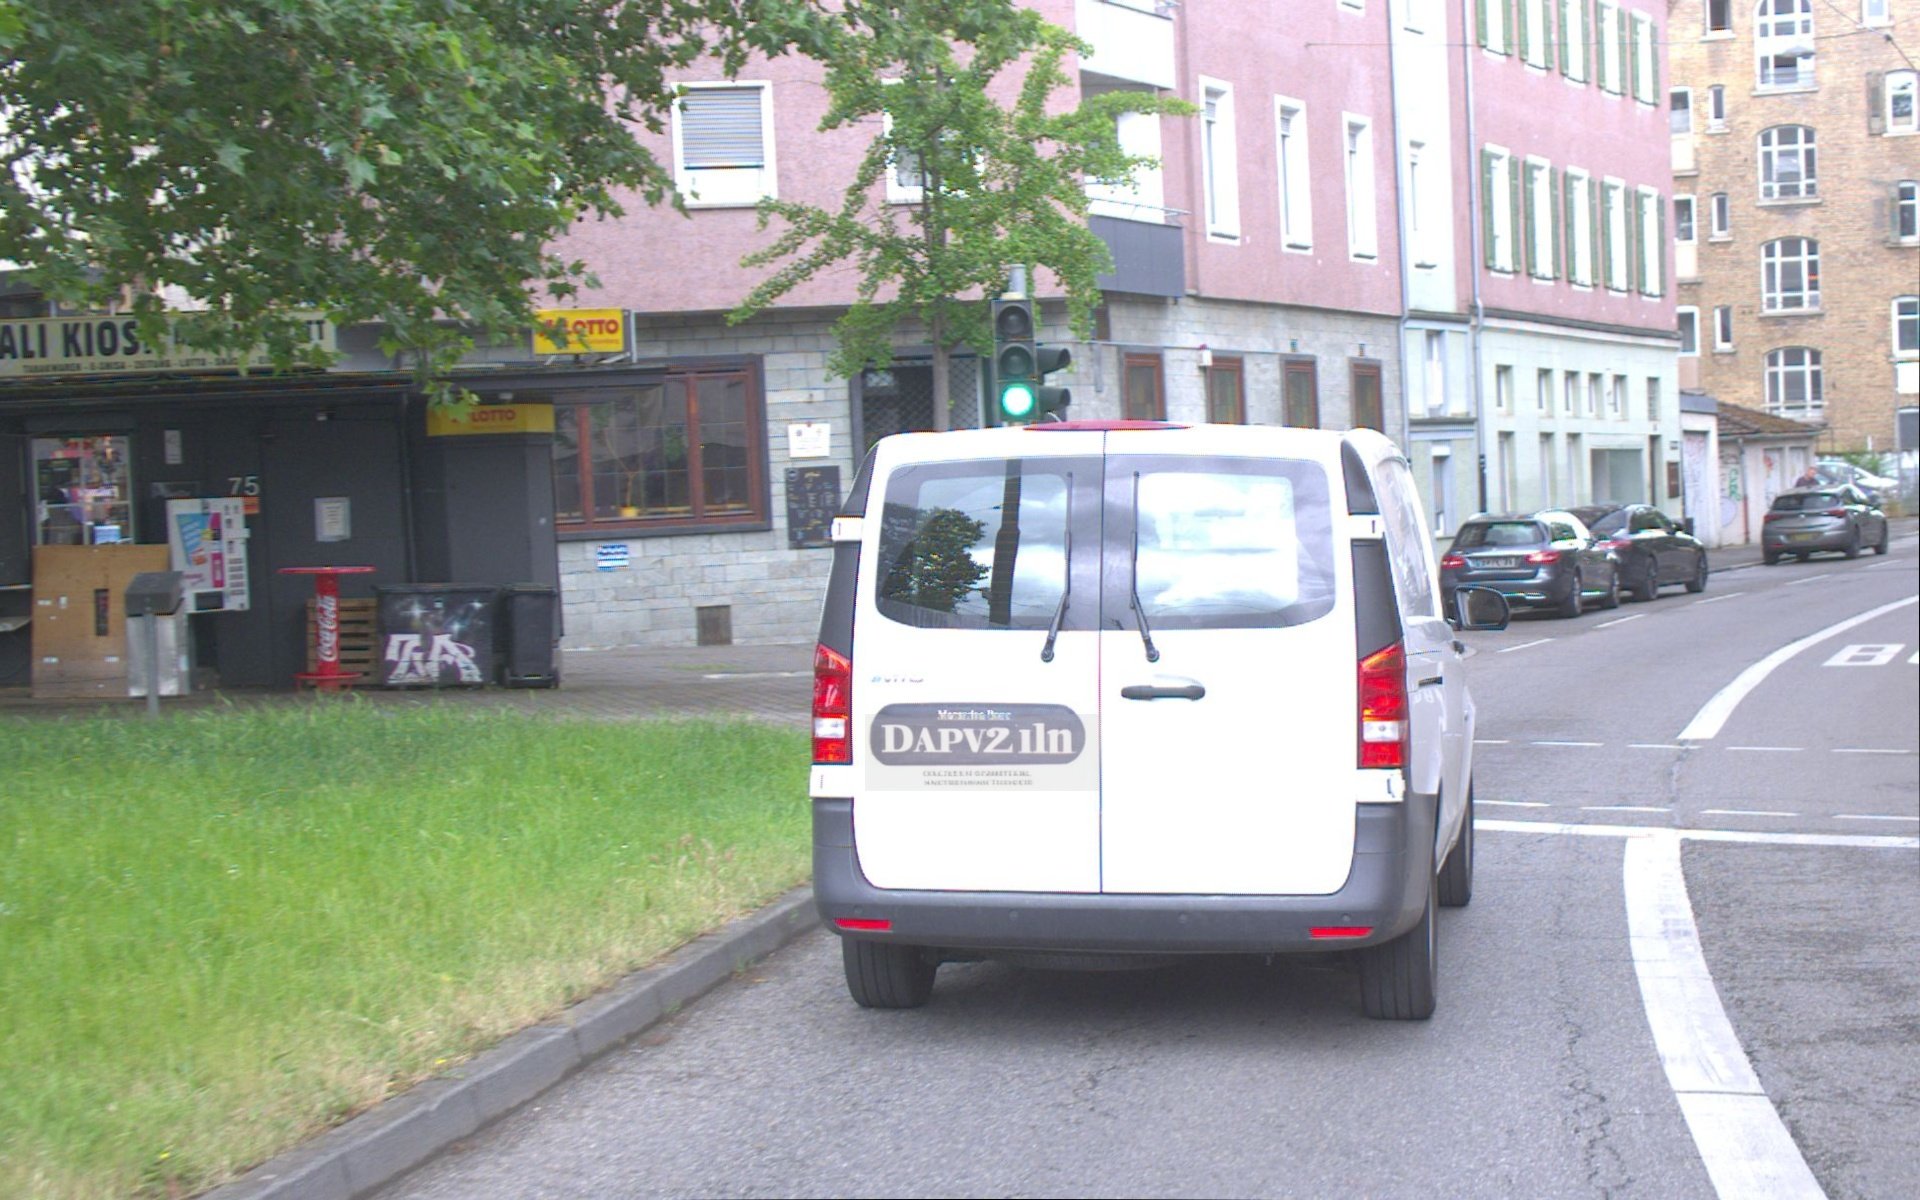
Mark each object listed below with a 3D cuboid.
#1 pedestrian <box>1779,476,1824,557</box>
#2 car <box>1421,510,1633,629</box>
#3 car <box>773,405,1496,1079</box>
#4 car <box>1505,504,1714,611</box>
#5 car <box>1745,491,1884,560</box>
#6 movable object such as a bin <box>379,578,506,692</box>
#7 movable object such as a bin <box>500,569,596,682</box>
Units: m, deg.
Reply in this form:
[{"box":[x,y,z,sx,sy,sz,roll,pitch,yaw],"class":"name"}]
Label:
[{"box":[18.102,-1.796,73.931,0.762,1.738,0.983,0,2,24],"class":"pedestrian"},{"box":[7.817,-0.443,47.045,1.831,1.450,4.579,-2,1,22],"class":"car"},{"box":[0.839,0.347,12.135,1.918,1.895,4.699,1,1,11],"class":"car"},{"box":[9.908,-0.677,52.168,1.831,1.450,4.915,-2,1,26],"class":"car"},{"box":[16.620,-1.440,66.742,1.996,1.285,3.995,0,1,23],"class":"car"},{"box":[-4.673,0.313,31.011,0.964,0.961,1.113,1,2,-17],"class":"movable object such as a bin"},{"box":[-3.750,0.224,31.263,0.671,0.961,1.080,1,2,-17],"class":"movable object such as a bin"}]
